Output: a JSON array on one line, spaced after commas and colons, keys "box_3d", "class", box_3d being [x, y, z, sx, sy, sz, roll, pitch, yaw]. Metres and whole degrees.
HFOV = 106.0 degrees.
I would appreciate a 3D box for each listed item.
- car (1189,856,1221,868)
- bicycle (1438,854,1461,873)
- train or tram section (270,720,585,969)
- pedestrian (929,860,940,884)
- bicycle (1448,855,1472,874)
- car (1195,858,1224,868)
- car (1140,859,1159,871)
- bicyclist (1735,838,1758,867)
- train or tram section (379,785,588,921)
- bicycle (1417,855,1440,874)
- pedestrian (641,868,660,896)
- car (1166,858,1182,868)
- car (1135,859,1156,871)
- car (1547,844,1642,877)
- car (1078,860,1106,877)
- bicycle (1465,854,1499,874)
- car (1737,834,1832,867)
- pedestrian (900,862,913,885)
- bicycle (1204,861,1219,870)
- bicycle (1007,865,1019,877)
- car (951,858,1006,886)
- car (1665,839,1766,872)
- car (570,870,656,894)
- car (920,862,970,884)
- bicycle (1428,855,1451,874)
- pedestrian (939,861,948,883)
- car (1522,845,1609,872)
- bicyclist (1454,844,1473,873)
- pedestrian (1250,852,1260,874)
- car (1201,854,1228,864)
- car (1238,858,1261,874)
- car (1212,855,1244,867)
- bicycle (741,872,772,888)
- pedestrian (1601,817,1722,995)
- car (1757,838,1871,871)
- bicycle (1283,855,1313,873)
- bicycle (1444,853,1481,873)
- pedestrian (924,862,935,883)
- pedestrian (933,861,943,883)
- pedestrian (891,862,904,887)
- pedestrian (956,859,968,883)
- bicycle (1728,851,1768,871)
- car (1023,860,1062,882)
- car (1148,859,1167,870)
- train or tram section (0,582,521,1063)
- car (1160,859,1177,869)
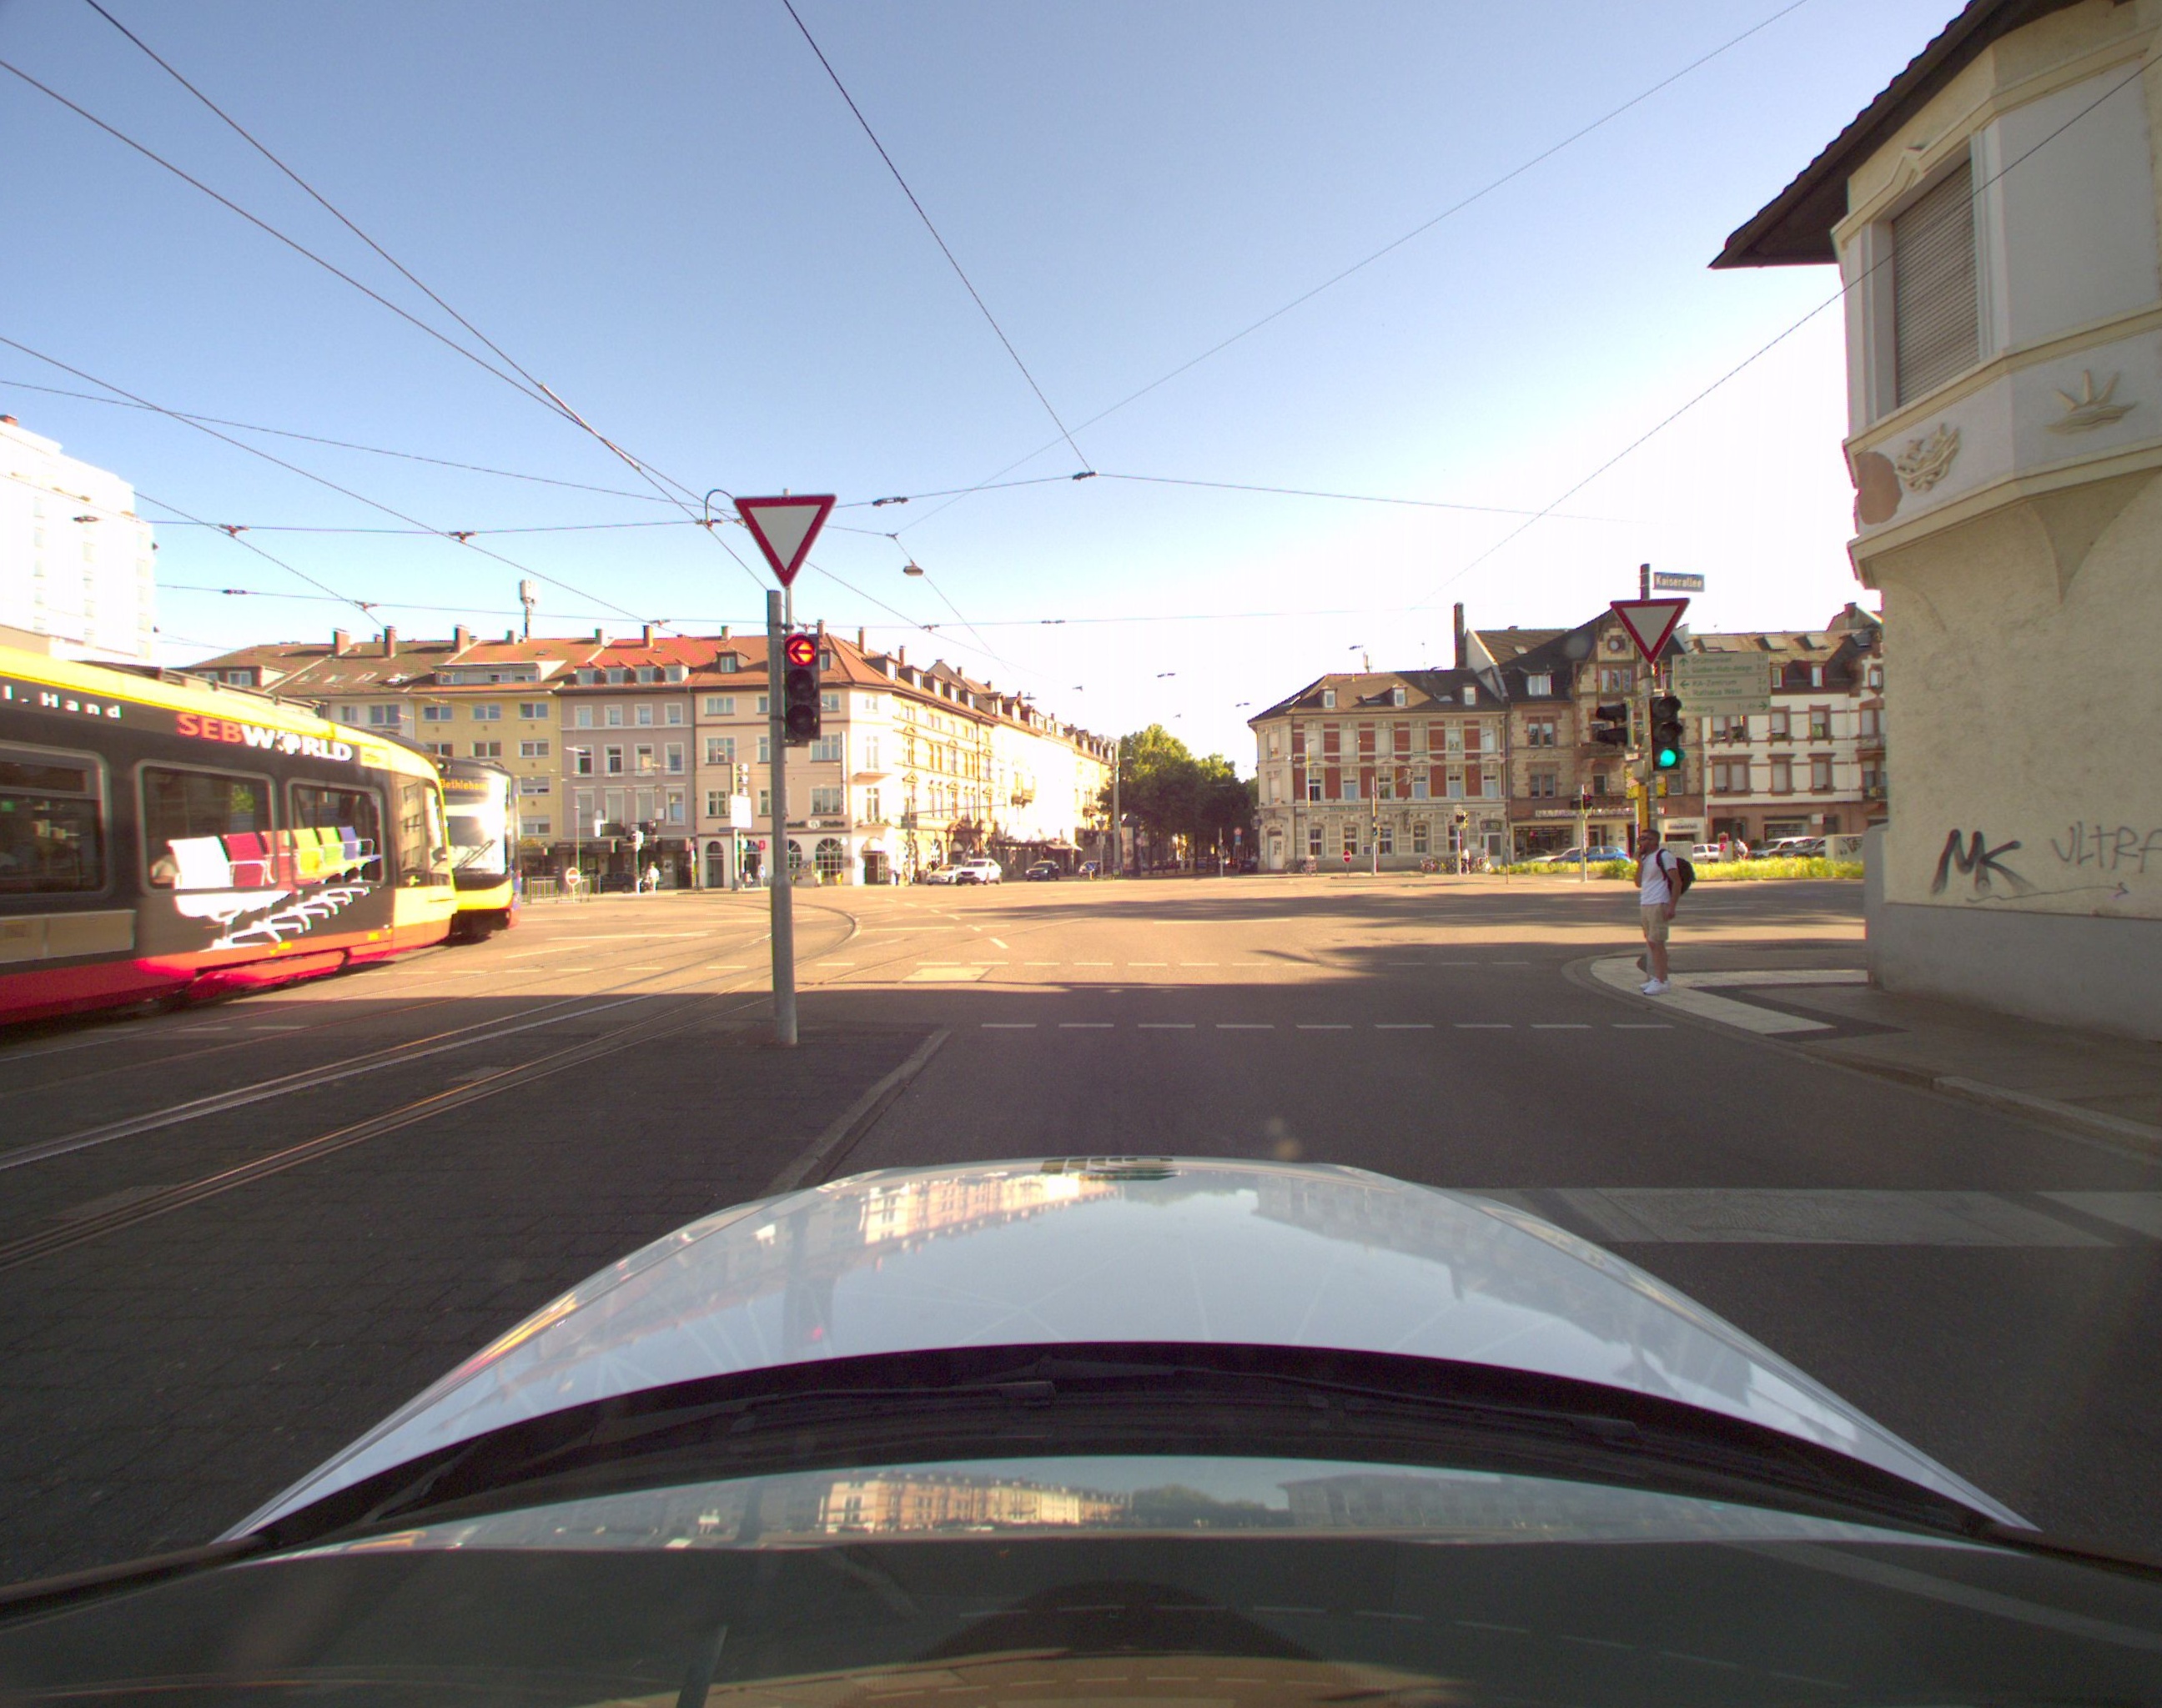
[{"box_3d": [17.529, 1.139, 115.411, 3.949, 1.545, 2.012, -2, 0, 30], "class": "car"}, {"box_3d": [23.848, 0.583, 52.744, 0.674, 1.191, 1.969, -1, 0, 3], "class": "bicycle"}, {"box_3d": [-13.143, -0.089, 17.831, 3.073, 3.613, 12.004, -1, 0, -28], "class": "train or tram section"}, {"box_3d": [-11.254, 1.406, 62.547, 0.575, 1.836, 0.636, -2, 0, 18], "class": "pedestrian"}, {"box_3d": [24.524, 0.693, 52.719, 0.674, 1.191, 1.969, -1, 0, 3], "class": "bicycle"}, {"box_3d": [20.206, 1.441, 127.993, 3.949, 1.545, 2.012, -2, 0, 30], "class": "car"}, {"box_3d": [9.908, 1.582, 117.288, 1.978, 1.497, 4.051, -2, 0, 16], "class": "car"}, {"box_3d": [41.258, -0.076, 50.505, 0.900, 1.764, 0.601, -1, 0, 0], "class": "bicyclist"}, {"box_3d": [-20.171, 0.073, 26.968, 12.343, 3.613, 3.084, -2, 0, 42], "class": "train or tram section"}, {"box_3d": [22.499, 0.643, 52.750, 0.674, 1.191, 1.969, -1, 0, 3], "class": "bicycle"}, {"box_3d": [-25.283, 1.644, 47.817, 0.723, 1.627, 0.671, -1, 0, -3], "class": "pedestrian"}, {"box_3d": [15.504, 1.546, 136.156, 1.978, 1.497, 4.051, -2, 0, 16], "class": "car"}, {"box_3d": [8.937, 1.553, 112.822, 1.978, 1.497, 4.051, -2, 0, 16], "class": "car"}, {"box_3d": [28.319, 0.334, 45.012, 3.973, 1.668, 1.955, -2, 0, 1], "class": "car"}, {"box_3d": [1.022, 1.310, 76.519, 1.705, 1.497, 3.599, -2, 0, 16], "class": "car"}, {"box_3d": [25.746, 0.648, 52.292, 1.961, 1.191, 0.677, -1, 0, -10], "class": "bicycle"}, {"box_3d": [45.255, -0.197, 52.480, 4.388, 1.965, 1.955, -2, 0, 1], "class": "car"}, {"box_3d": [-12.360, 1.376, 57.655, 0.626, 1.642, 0.554, -2, 0, 15], "class": "pedestrian"}, {"box_3d": [15.876, 1.355, 99.022, 0.586, 1.067, 1.928, -1, 0, -34], "class": "bicycle"}, {"box_3d": [-6.706, 1.677, 79.854, 0.491, 1.067, 1.778, -2, 0, 18], "class": "bicycle"}, {"box_3d": [-5.883, 1.016, 47.177, 1.981, 1.497, 4.359, -2, 0, 9], "class": "car"}, {"box_3d": [34.806, 0.087, 44.747, 3.973, 1.668, 1.955, -2, 0, 1], "class": "car"}, {"box_3d": [-30.700, 1.840, 53.516, 4.626, 1.440, 1.743, -1, -1, -1], "class": "car"}, {"box_3d": [-9.568, 1.327, 57.777, 1.980, 1.355, 4.237, -2, 0, 13], "class": "car"}, {"box_3d": [23.200, 0.653, 52.759, 0.674, 1.191, 1.969, -1, 0, 3], "class": "bicycle"}, {"box_3d": [-10.682, 1.411, 63.395, 0.533, 1.642, 0.554, -2, 0, 8], "class": "pedestrian"}, {"box_3d": [28.511, 0.256, 48.006, 3.973, 1.412, 1.846, -2, 0, 1], "class": "car"}, {"box_3d": [23.683, 0.295, 50.486, 0.869, 1.764, 0.602, -2, 0, 4], "class": "bicyclist"}, {"box_3d": [14.023, 0.721, 65.541, 0.710, 1.669, 0.943, -2, 0, 14], "class": "pedestrian"}, {"box_3d": [21.932, 0.882, 134.079, 3.949, 1.545, 2.012, -2, 0, 30], "class": "car"}, {"box_3d": [17.018, 1.146, 82.150, 1.978, 1.497, 4.051, -2, 0, 16], "class": "car"}, {"box_3d": [20.922, 1.003, 116.147, 3.948, 1.545, 2.013, -2, 0, 32], "class": "car"}, {"box_3d": [-22.812, 1.806, 57.286, 1.940, 1.067, 0.582, -1, 0, -6], "class": "bicycle"}, {"box_3d": [6.062, 0.522, 8.517, 0.691, 1.740, 0.668, -4, -1, -28], "class": "pedestrian"}, {"box_3d": [40.140, 0.047, 44.679, 4.456, 1.668, 1.955, -2, 0, 1], "class": "car"}, {"box_3d": [15.190, 0.716, 56.944, 1.950, 1.191, 0.547, -2, 0, 6], "class": "bicycle"}, {"box_3d": [23.642, 0.581, 50.490, 1.952, 1.191, 0.602, -2, 0, 4], "class": "bicycle"}, {"box_3d": [-11.726, 1.415, 62.992, 0.626, 1.642, 0.554, -2, 0, 15], "class": "pedestrian"}, {"box_3d": [-11.144, 1.414, 63.425, 0.630, 1.642, 0.533, -1, 0, -25], "class": "pedestrian"}, {"box_3d": [-12.699, 1.422, 56.400, 0.670, 1.642, 0.581, -2, 0, 15], "class": "pedestrian"}, {"box_3d": [-9.896, 1.405, 67.639, 0.676, 1.908, 0.636, -2, 0, 18], "class": "pedestrian"}, {"box_3d": [41.355, 0.446, 50.497, 1.954, 1.191, 0.601, -1, 0, 0], "class": "bicycle"}, {"box_3d": [-2.858, 1.252, 61.724, 1.762, 1.497, 4.589, -2, 0, 12], "class": "car"}, {"box_3d": [11.525, 1.615, 122.488, 1.978, 1.497, 4.051, -2, 0, 16], "class": "car"}, {"box_3d": [-9.766, -0.200, 6.950, 3.053, 3.613, 12.080, -1, 0, -8], "class": "train or tram section"}, {"box_3d": [14.142, 1.578, 131.402, 1.978, 1.497, 4.051, -2, 0, 16], "class": "car"}]
